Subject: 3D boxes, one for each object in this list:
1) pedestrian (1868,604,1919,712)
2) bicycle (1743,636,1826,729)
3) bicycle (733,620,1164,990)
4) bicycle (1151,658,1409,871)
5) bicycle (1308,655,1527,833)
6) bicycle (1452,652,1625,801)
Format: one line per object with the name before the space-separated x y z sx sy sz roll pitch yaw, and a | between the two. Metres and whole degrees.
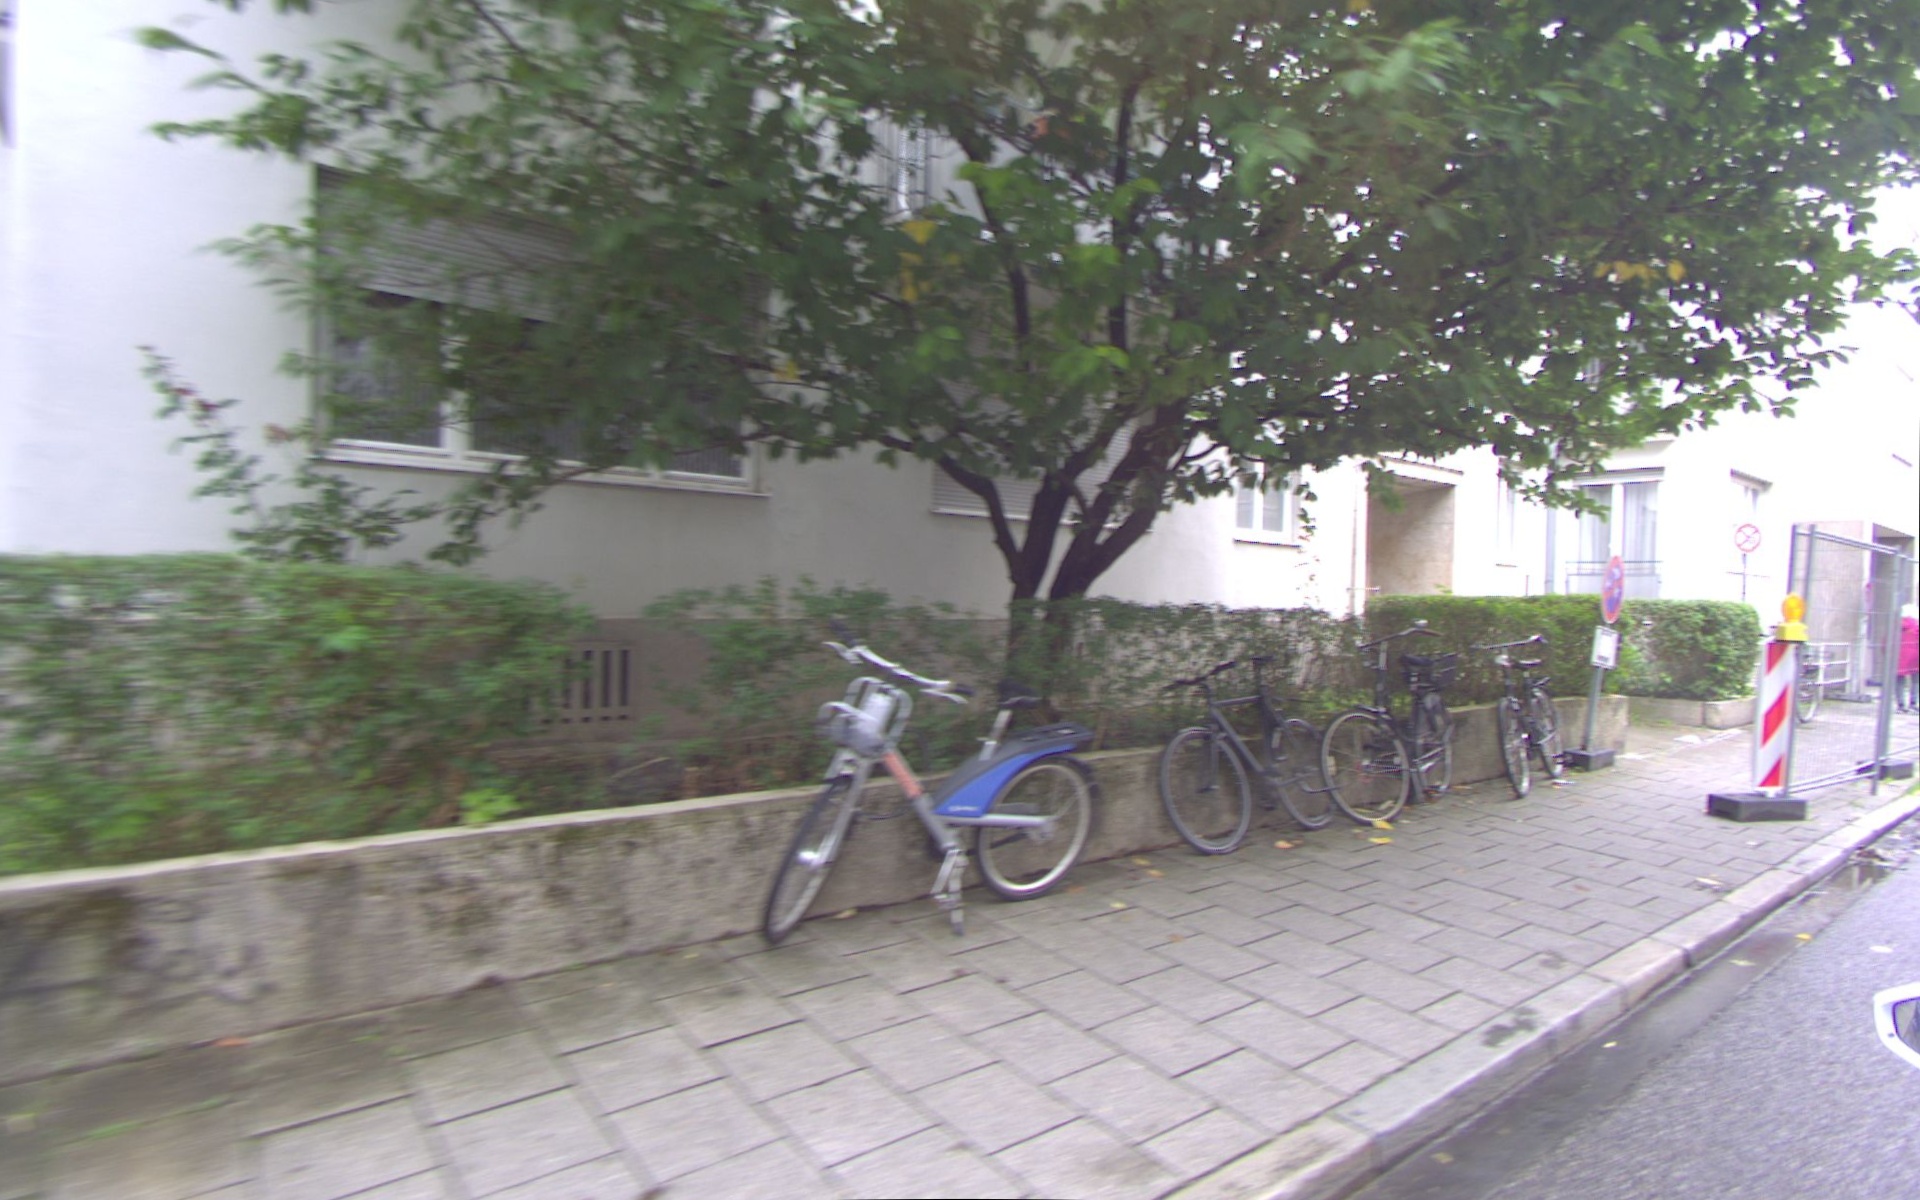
pedestrian | 14.041 0.847 14.932 0.740 1.552 0.633 1 1 -37
bicycle | 10.514 1.024 12.797 1.583 1.077 0.374 1 7 -39
bicycle | 0.018 0.699 3.963 1.684 1.167 0.484 2 3 -38
bicycle | 1.830 0.848 5.611 1.684 0.991 0.432 2 3 -38
bicycle | 3.039 0.881 6.577 1.837 0.991 0.440 2 3 -38
bicycle | 4.483 0.923 7.732 1.800 0.991 0.440 2 3 -38
